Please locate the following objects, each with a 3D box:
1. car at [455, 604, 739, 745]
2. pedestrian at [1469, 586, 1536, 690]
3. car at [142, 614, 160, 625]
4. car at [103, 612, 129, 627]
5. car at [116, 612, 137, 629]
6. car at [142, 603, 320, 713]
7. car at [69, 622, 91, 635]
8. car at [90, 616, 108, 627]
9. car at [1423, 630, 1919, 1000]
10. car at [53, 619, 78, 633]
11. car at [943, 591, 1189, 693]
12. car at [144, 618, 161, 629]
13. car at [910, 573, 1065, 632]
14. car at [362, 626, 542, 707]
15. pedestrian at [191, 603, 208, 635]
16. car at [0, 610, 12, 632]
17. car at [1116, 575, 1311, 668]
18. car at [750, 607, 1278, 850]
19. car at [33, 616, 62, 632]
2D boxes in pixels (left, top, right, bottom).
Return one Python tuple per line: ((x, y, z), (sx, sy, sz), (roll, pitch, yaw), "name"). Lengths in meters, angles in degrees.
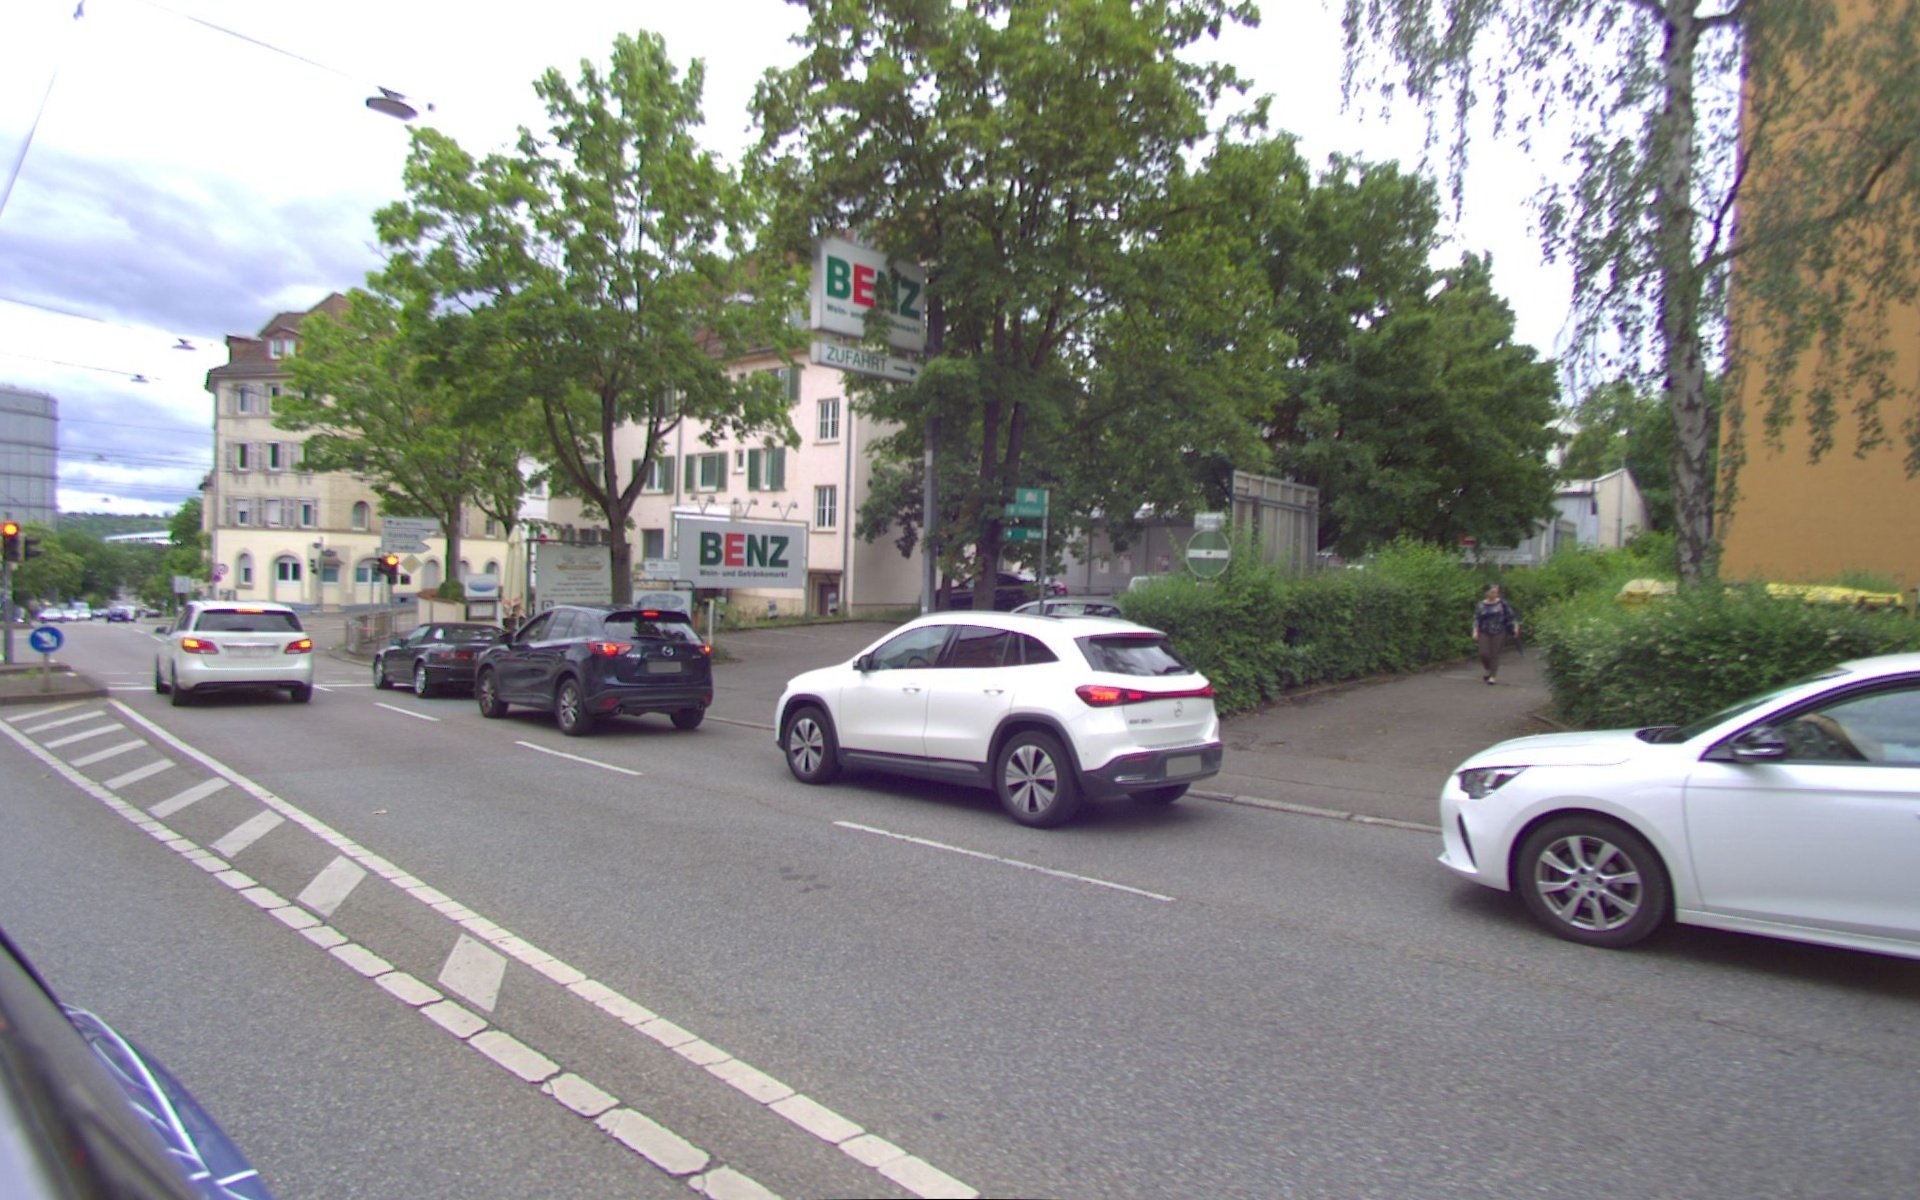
((-5.161, 0.937, 14.069), (4.415, 1.655, 1.929), (-1, -3, 44), "car")
((8.529, 0.571, 15.903), (0.790, 1.572, 0.783), (1, 1, 38), "pedestrian")
((-127.393, 3.002, 159.365), (1.967, 1.612, 4.009), (-1, 0, -36), "car")
((-83.603, 1.929, 100.276), (1.731, 1.458, 3.760), (-1, 0, -36), "car")
((-99.107, 2.440, 120.390), (1.841, 1.898, 4.293), (4, -3, -39), "car")
((-11.980, 0.883, 16.512), (1.754, 1.558, 4.329), (4, -3, -43), "car")
((-121.796, 3.896, 140.070), (1.967, 1.612, 4.009), (-1, 0, -36), "car")
((-136.959, 3.455, 161.015), (1.967, 1.612, 4.009), (-1, 0, -36), "car")
((4.508, 0.897, 4.538), (4.073, 1.423, 1.819), (-1, -3, 43), "car")
((-111.480, 3.201, 126.179), (1.967, 1.612, 4.009), (-1, 0, -36), "car")
((1.772, 0.666, 17.623), (3.998, 1.512, 1.690), (-1, 2, 41), "car")
((-134.246, 3.909, 168.213), (1.967, 1.612, 4.009), (-1, 0, -36), "car")
((0.862, 0.085, 33.708), (4.900, 1.817, 2.041), (-1, 0, 37), "car")
((-9.480, 1.173, 18.728), (1.780, 1.291, 4.240), (4, -3, -44), "car")
((-48.133, 1.180, 64.071), (0.735, 1.951, 0.905), (-3, 1, -39), "pedestrian")
((-75.453, 1.647, 78.680), (1.967, 1.642, 4.419), (-1, 1, -36), "car")
((5.840, 0.455, 23.530), (4.000, 1.916, 1.805), (0, 2, 43), "car")
((0.266, 0.917, 8.974), (4.499, 1.606, 1.929), (-1, -3, 44), "car")
((-99.566, 2.617, 110.464), (1.967, 1.612, 4.009), (-1, 0, -36), "car")
